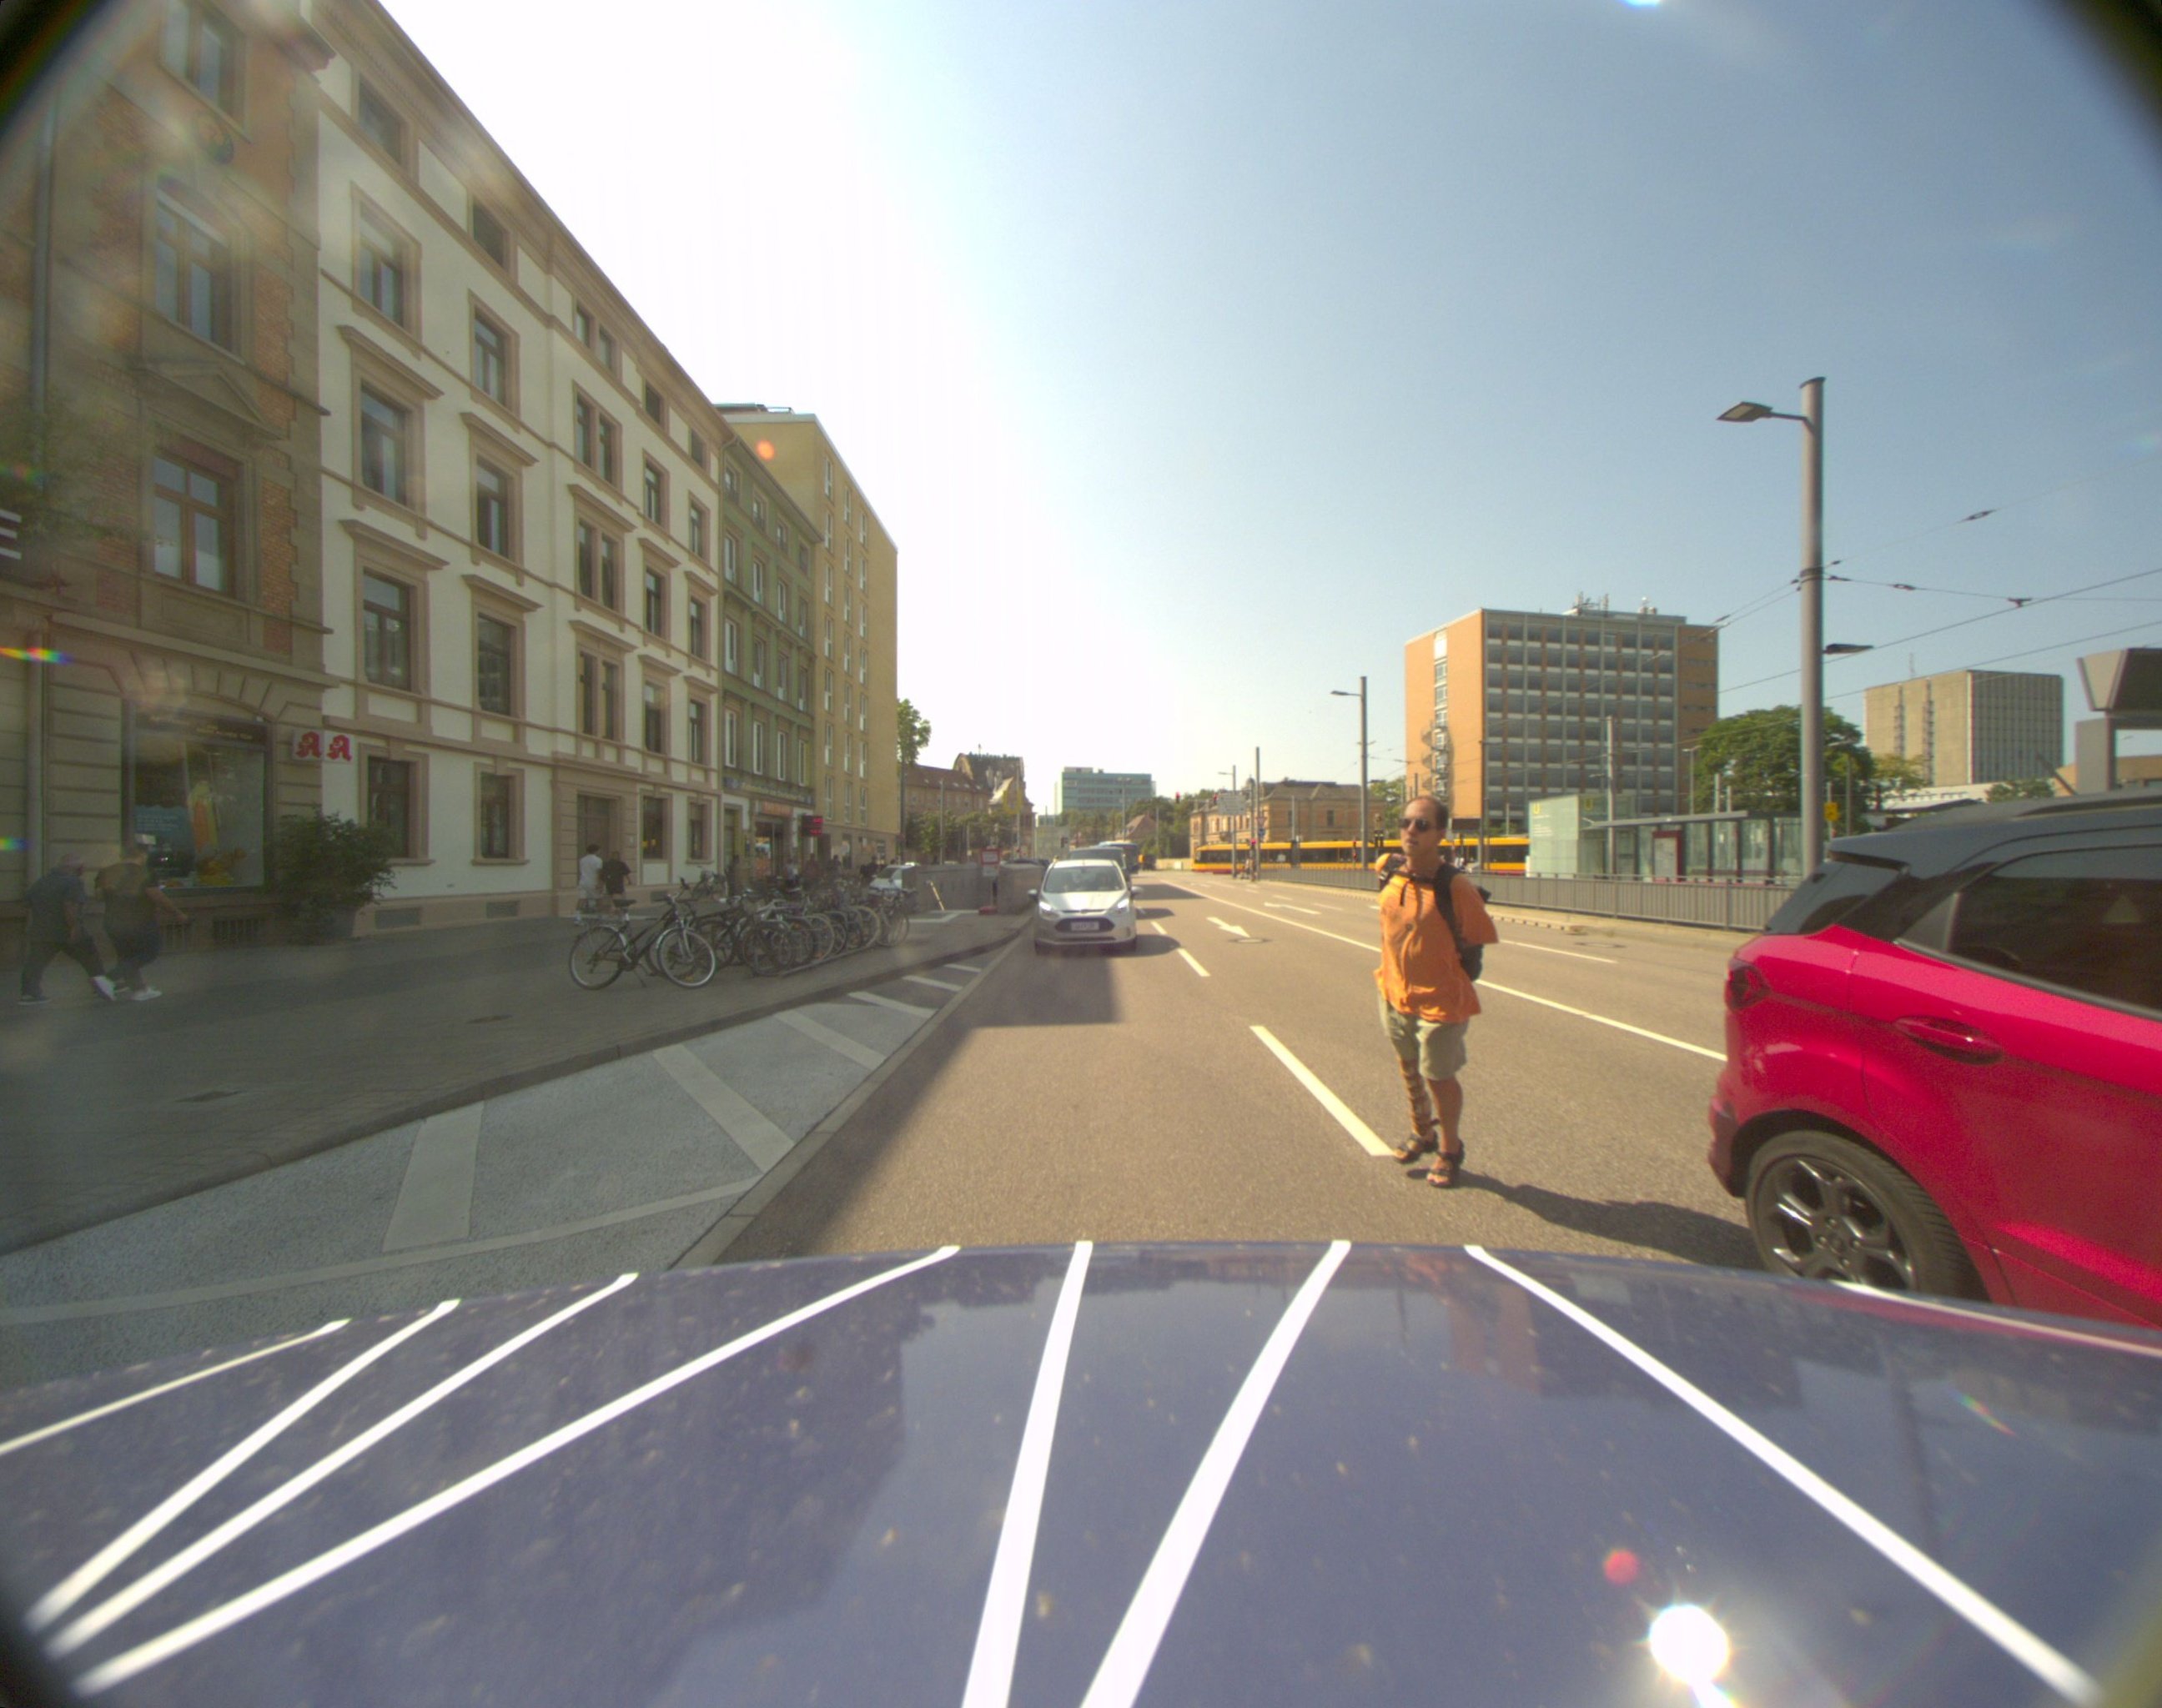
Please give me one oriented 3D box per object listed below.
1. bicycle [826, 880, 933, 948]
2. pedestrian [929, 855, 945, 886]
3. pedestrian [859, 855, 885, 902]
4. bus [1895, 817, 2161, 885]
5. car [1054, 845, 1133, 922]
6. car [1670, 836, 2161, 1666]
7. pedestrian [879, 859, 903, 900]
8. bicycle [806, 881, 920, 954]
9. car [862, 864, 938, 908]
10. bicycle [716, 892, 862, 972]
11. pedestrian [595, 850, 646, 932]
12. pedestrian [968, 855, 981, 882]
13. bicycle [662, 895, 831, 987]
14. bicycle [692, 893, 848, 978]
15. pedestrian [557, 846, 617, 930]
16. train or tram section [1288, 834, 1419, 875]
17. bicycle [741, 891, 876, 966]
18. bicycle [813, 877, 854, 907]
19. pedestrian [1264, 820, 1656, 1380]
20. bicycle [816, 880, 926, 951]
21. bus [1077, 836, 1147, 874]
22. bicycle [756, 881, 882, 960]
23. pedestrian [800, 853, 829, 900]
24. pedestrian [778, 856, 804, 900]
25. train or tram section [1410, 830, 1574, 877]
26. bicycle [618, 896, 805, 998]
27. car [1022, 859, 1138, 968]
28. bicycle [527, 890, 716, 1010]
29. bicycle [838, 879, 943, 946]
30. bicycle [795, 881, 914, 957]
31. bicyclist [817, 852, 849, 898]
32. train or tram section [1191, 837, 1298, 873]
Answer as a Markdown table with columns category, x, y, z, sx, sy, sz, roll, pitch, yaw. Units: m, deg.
| category | x | y | z | sx | sy | sz | roll | pitch | yaw |
| --- | --- | --- | --- | --- | --- | --- | --- | --- | --- |
| bicycle | -3.748 | 1.114 | 14.196 | 1.841 | 1.196 | 0.434 | -2 | 0 | 1 |
| pedestrian | -7.712 | 0.884 | 40.629 | 0.645 | 1.619 | 0.797 | 1 | 0 | 2 |
| pedestrian | -8.064 | 0.934 | 29.314 | 0.688 | 1.748 | 0.797 | 1 | 0 | 6 |
| bus | 51.831 | -0.120 | 39.115 | 13.371 | 3.275 | 3.357 | -2 | 0 | 45 |
| car | 0.373 | 0.752 | 22.094 | 1.998 | 1.953 | 4.816 | -1 | 0 | 1 |
| car | 2.897 | 0.770 | 0.740 | 1.634 | 1.611 | 3.968 | -2 | 0 | 2 |
| pedestrian | -7.740 | 1.026 | 31.016 | 0.644 | 1.619 | 0.797 | 1 | 0 | 15 |
| bicycle | -3.786 | 1.096 | 13.256 | 1.841 | 1.196 | 0.434 | -2 | 0 | 1 |
| car | -6.551 | 1.113 | 27.885 | 1.666 | 1.418 | 3.934 | 2 | 0 | 2 |
| bicycle | -4.237 | 1.123 | 11.109 | 1.841 | 1.054 | 0.657 | -2 | 0 | 1 |
| pedestrian | -10.154 | 0.796 | 16.784 | 0.645 | 1.761 | 0.796 | 1 | 0 | -4 |
| pedestrian | -6.419 | 0.847 | 45.892 | 0.645 | 1.619 | 0.797 | 1 | 0 | 4 |
| bicycle | -4.258 | 1.093 | 9.745 | 1.841 | 1.054 | 0.657 | -2 | 0 | 1 |
| bicycle | -4.245 | 1.105 | 10.443 | 1.841 | 1.047 | 0.657 | -2 | 0 | 1 |
| pedestrian | -10.861 | 0.739 | 16.729 | 0.727 | 1.793 | 0.928 | 1 | 0 | -3 |
| train or tram section | 26.325 | 0.059 | 74.183 | 12.332 | 3.743 | 2.004 | 0 | 0 | 45 |
| bicycle | -4.206 | 1.142 | 11.808 | 1.841 | 1.050 | 0.657 | -2 | 0 | 1 |
| bicycle | -8.654 | 1.322 | 26.636 | 0.721 | 0.947 | 2.001 | 0 | 0 | 2 |
| pedestrian | 1.546 | 0.759 | 3.099 | 1.241 | 1.730 | 0.964 | -1 | 0 | -37 |
| bicycle | -3.775 | 1.102 | 13.717 | 1.841 | 1.212 | 0.434 | -2 | 0 | 1 |
| bus | 2.576 | 0.139 | 69.098 | 2.923 | 3.119 | 12.329 | -2 | 0 | -14 |
| bicycle | -4.263 | 1.078 | 12.419 | 1.841 | 1.196 | 0.549 | -2 | 0 | 1 |
| pedestrian | -9.879 | 0.824 | 28.215 | 0.772 | 1.724 | 0.881 | 1 | 0 | -2 |
| pedestrian | -10.826 | 0.896 | 28.396 | 0.645 | 1.619 | 0.797 | 1 | 0 | 2 |
| train or tram section | 35.030 | -0.002 | 65.518 | 12.332 | 3.743 | 2.004 | 0 | 0 | 45 |
| bicycle | -4.273 | 1.063 | 8.870 | 1.807 | 1.069 | 0.699 | -2 | 0 | 0 |
| car | 0.020 | 0.937 | 13.770 | 1.728 | 1.579 | 4.000 | -3 | 0 | 1 |
| bicycle | -4.968 | 1.021 | 8.281 | 1.607 | 1.178 | 0.690 | -2 | 0 | 2 |
| bicycle | -3.688 | 1.127 | 14.795 | 1.841 | 1.196 | 0.637 | -2 | 0 | 1 |
| bicycle | -3.811 | 1.089 | 12.820 | 1.841 | 1.196 | 0.434 | -2 | 0 | 1 |
| bicyclist | -8.664 | 0.728 | 26.626 | 0.721 | 1.577 | 1.103 | 0 | 0 | 2 |
| train or tram section | 17.547 | 0.126 | 82.831 | 12.332 | 3.743 | 2.004 | 0 | 0 | 45 |
